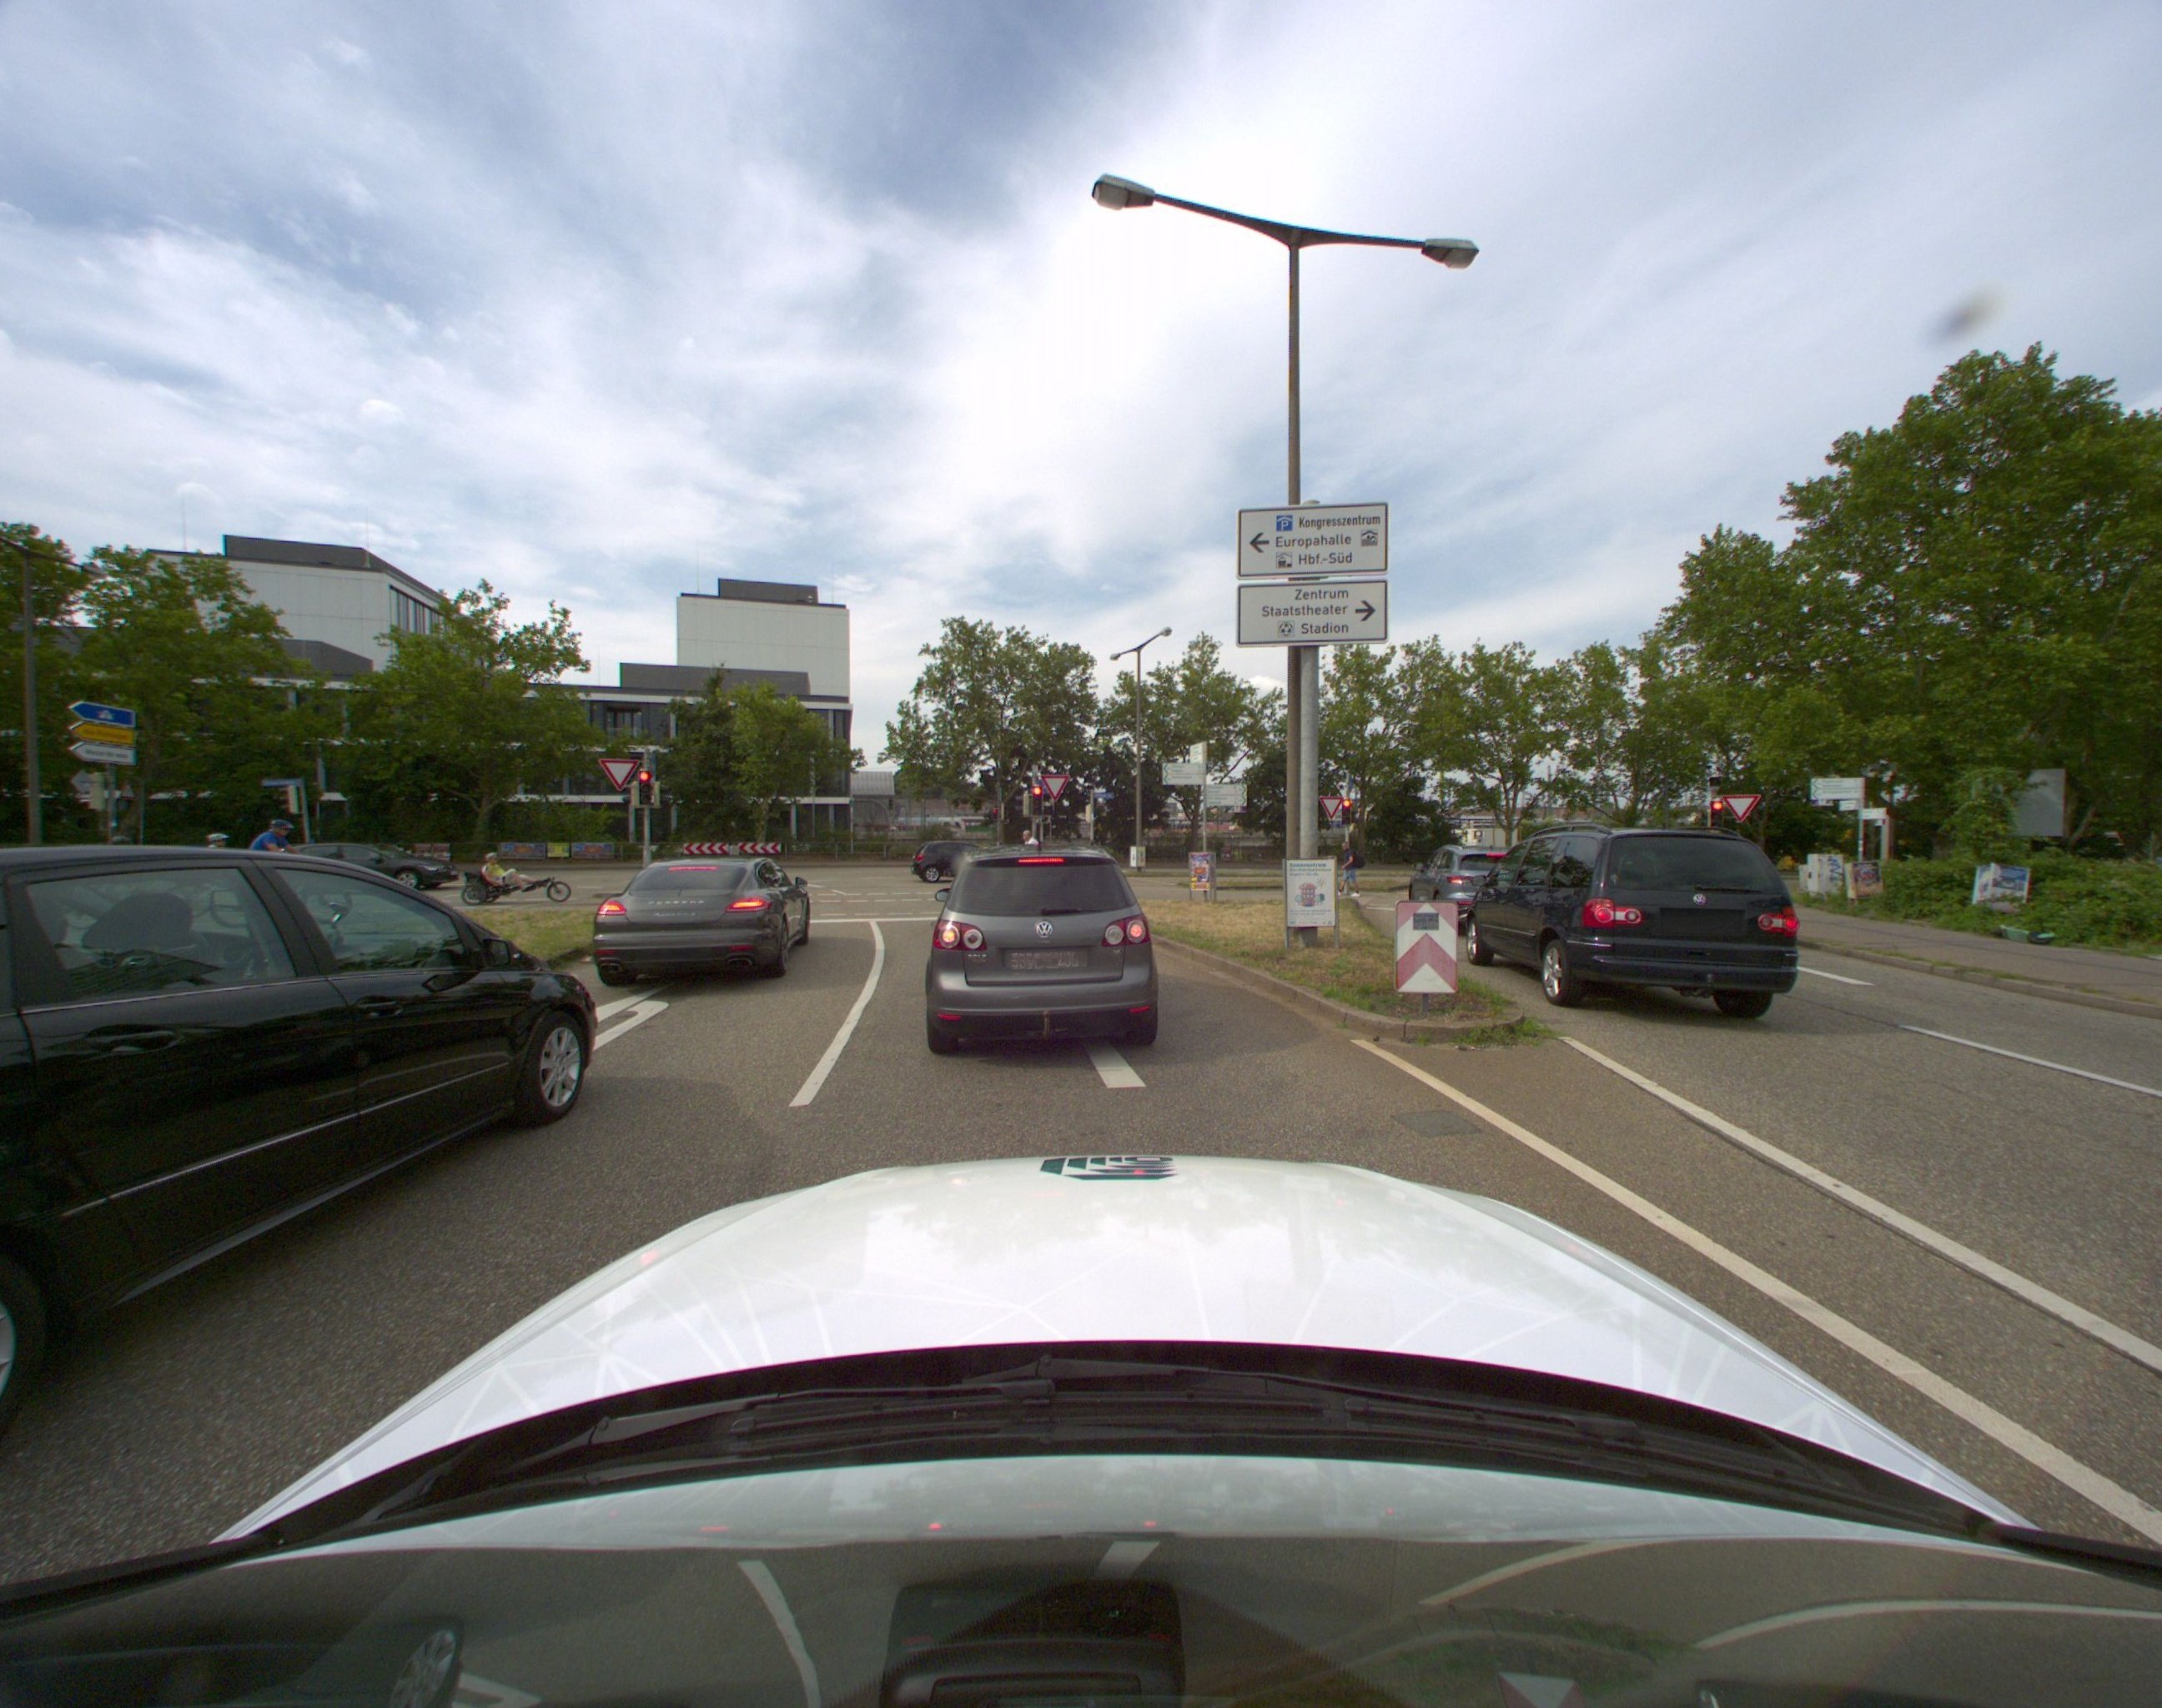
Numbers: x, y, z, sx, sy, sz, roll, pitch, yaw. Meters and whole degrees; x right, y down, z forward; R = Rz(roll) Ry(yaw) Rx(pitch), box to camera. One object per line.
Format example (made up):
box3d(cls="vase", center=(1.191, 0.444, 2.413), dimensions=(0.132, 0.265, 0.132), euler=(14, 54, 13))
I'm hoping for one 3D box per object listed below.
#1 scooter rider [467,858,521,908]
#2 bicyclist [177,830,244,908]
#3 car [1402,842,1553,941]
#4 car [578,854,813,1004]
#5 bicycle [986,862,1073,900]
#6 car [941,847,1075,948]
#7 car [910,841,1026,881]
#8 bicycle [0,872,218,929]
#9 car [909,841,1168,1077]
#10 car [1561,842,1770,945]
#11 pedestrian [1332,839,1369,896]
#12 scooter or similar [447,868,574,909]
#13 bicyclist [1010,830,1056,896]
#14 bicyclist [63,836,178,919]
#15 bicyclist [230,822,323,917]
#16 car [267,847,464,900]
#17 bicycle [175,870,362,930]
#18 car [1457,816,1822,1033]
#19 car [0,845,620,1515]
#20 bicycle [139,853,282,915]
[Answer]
box3d(cls="scooter rider", center=(-14.000, 0.670, 19.450), dimensions=(0.919, 1.137, 0.801), euler=(-1, 1, -28))
box3d(cls="bicyclist", center=(-18.219, 0.291, 17.072), dimensions=(0.784, 1.581, 0.648), euler=(-1, 1, -32))
box3d(cls="car", center=(7.353, 0.615, 15.509), dimensions=(1.679, 1.585, 4.171), euler=(2, 0, 13))
box3d(cls="car", center=(-4.660, 0.744, 10.618), dimensions=(1.821, 1.414, 4.754), euler=(0, 1, -14))
box3d(cls="bicycle", center=(-1.394, 0.707, 21.791), dimensions=(2.230, 0.952, 0.808), euler=(-1, 1, -13))
box3d(cls="car", center=(-1.429, 0.631, 14.301), dimensions=(1.743, 1.482, 4.062), euler=(-1, 0, -14))
box3d(cls="car", center=(-4.189, 0.240, 29.950), dimensions=(4.063, 1.368, 1.695), euler=(-1, 0, -14))
box3d(cls="bicycle", center=(-17.468, 0.817, 14.660), dimensions=(2.592, 0.890, 0.700), euler=(-1, 1, -20))
box3d(cls="car", center=(-0.480, 0.686, 7.528), dimensions=(1.739, 1.546, 4.073), euler=(-1, 0, -6))
box3d(cls="car", center=(10.828, 0.640, 15.481), dimensions=(1.738, 1.643, 4.152), euler=(2, 0, 13))
box3d(cls="pedestrian", center=(8.272, 0.403, 25.005), dimensions=(1.038, 1.710, 0.858), euler=(1, 1, 19))
box3d(cls="scooter or similar", center=(-13.676, 0.816, 19.620), dimensions=(2.392, 0.849, 0.801), euler=(-1, 1, -28))
box3d(cls="bicyclist", center=(-1.299, 0.230, 21.809), dimensions=(1.113, 1.696, 0.810), euler=(-1, 0, -12))
box3d(cls="bicyclist", center=(-17.321, 0.403, 14.717), dimensions=(1.117, 1.436, 0.644), euler=(-1, 1, -19))
box3d(cls="bicyclist", center=(-14.489, 0.260, 14.690), dimensions=(0.883, 1.656, 0.807), euler=(-1, 0, -17))
box3d(cls="car", center=(-21.276, 0.535, 24.423), dimensions=(4.067, 1.450, 1.693), euler=(-1, 0, -17))
box3d(cls="bicycle", center=(-14.558, 0.804, 14.672), dimensions=(2.233, 0.952, 0.807), euler=(-1, 1, -17))
box3d(cls="car", center=(5.549, 0.565, 8.804), dimensions=(1.739, 1.724, 4.151), euler=(2, 0, 11))
box3d(cls="car", center=(-3.622, 0.785, 3.111), dimensions=(1.755, 1.575, 4.028), euler=(0, 1, -6))
box3d(cls="bicycle", center=(-18.206, 0.602, 17.094), dimensions=(1.914, 1.210, 0.636), euler=(-1, 1, -32))
